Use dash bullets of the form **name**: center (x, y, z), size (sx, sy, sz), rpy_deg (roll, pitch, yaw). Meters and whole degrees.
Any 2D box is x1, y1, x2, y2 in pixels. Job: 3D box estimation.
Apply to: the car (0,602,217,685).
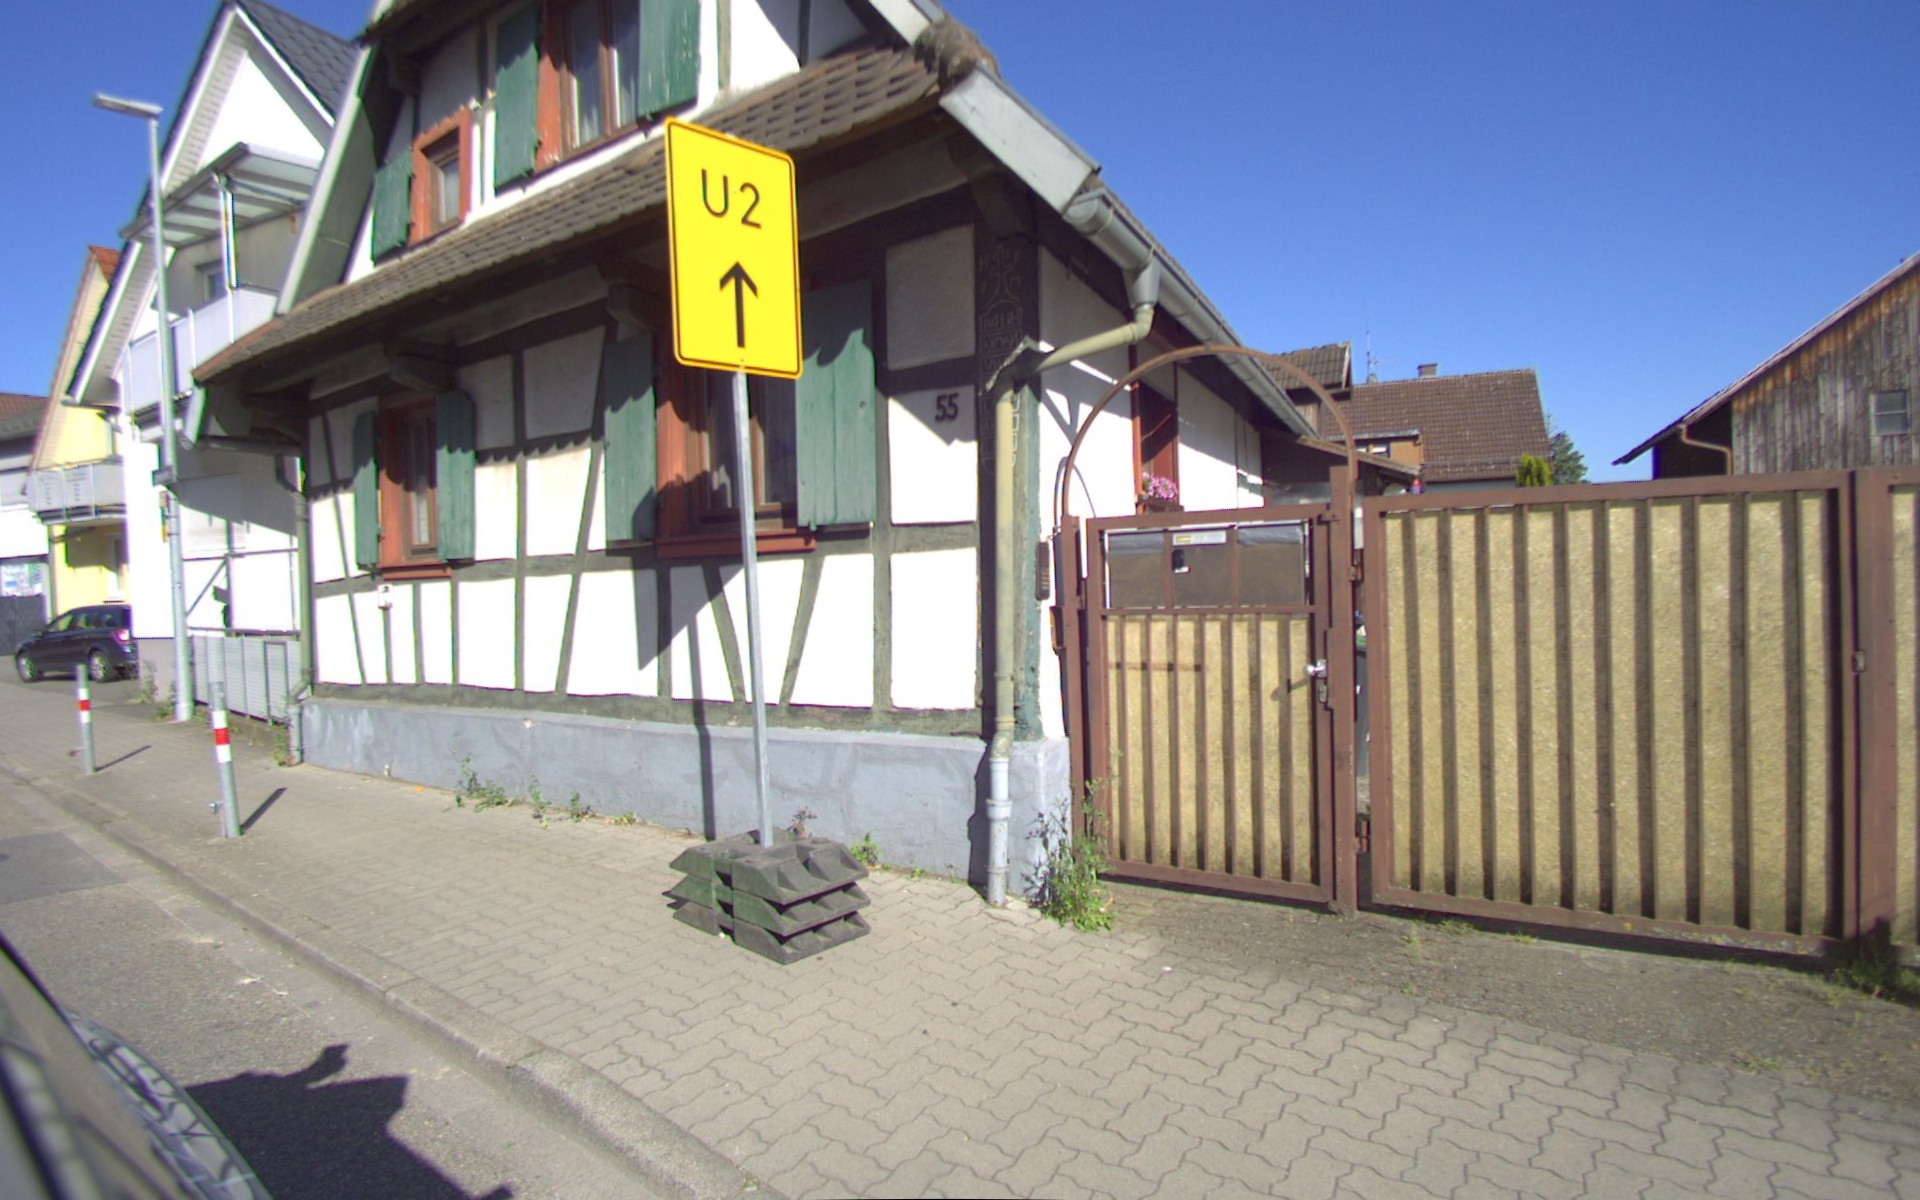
- **car**: center (-17.230, 0.874, 20.461), size (4.151, 1.456, 1.680), rpy_deg (-2, 2, 25)
